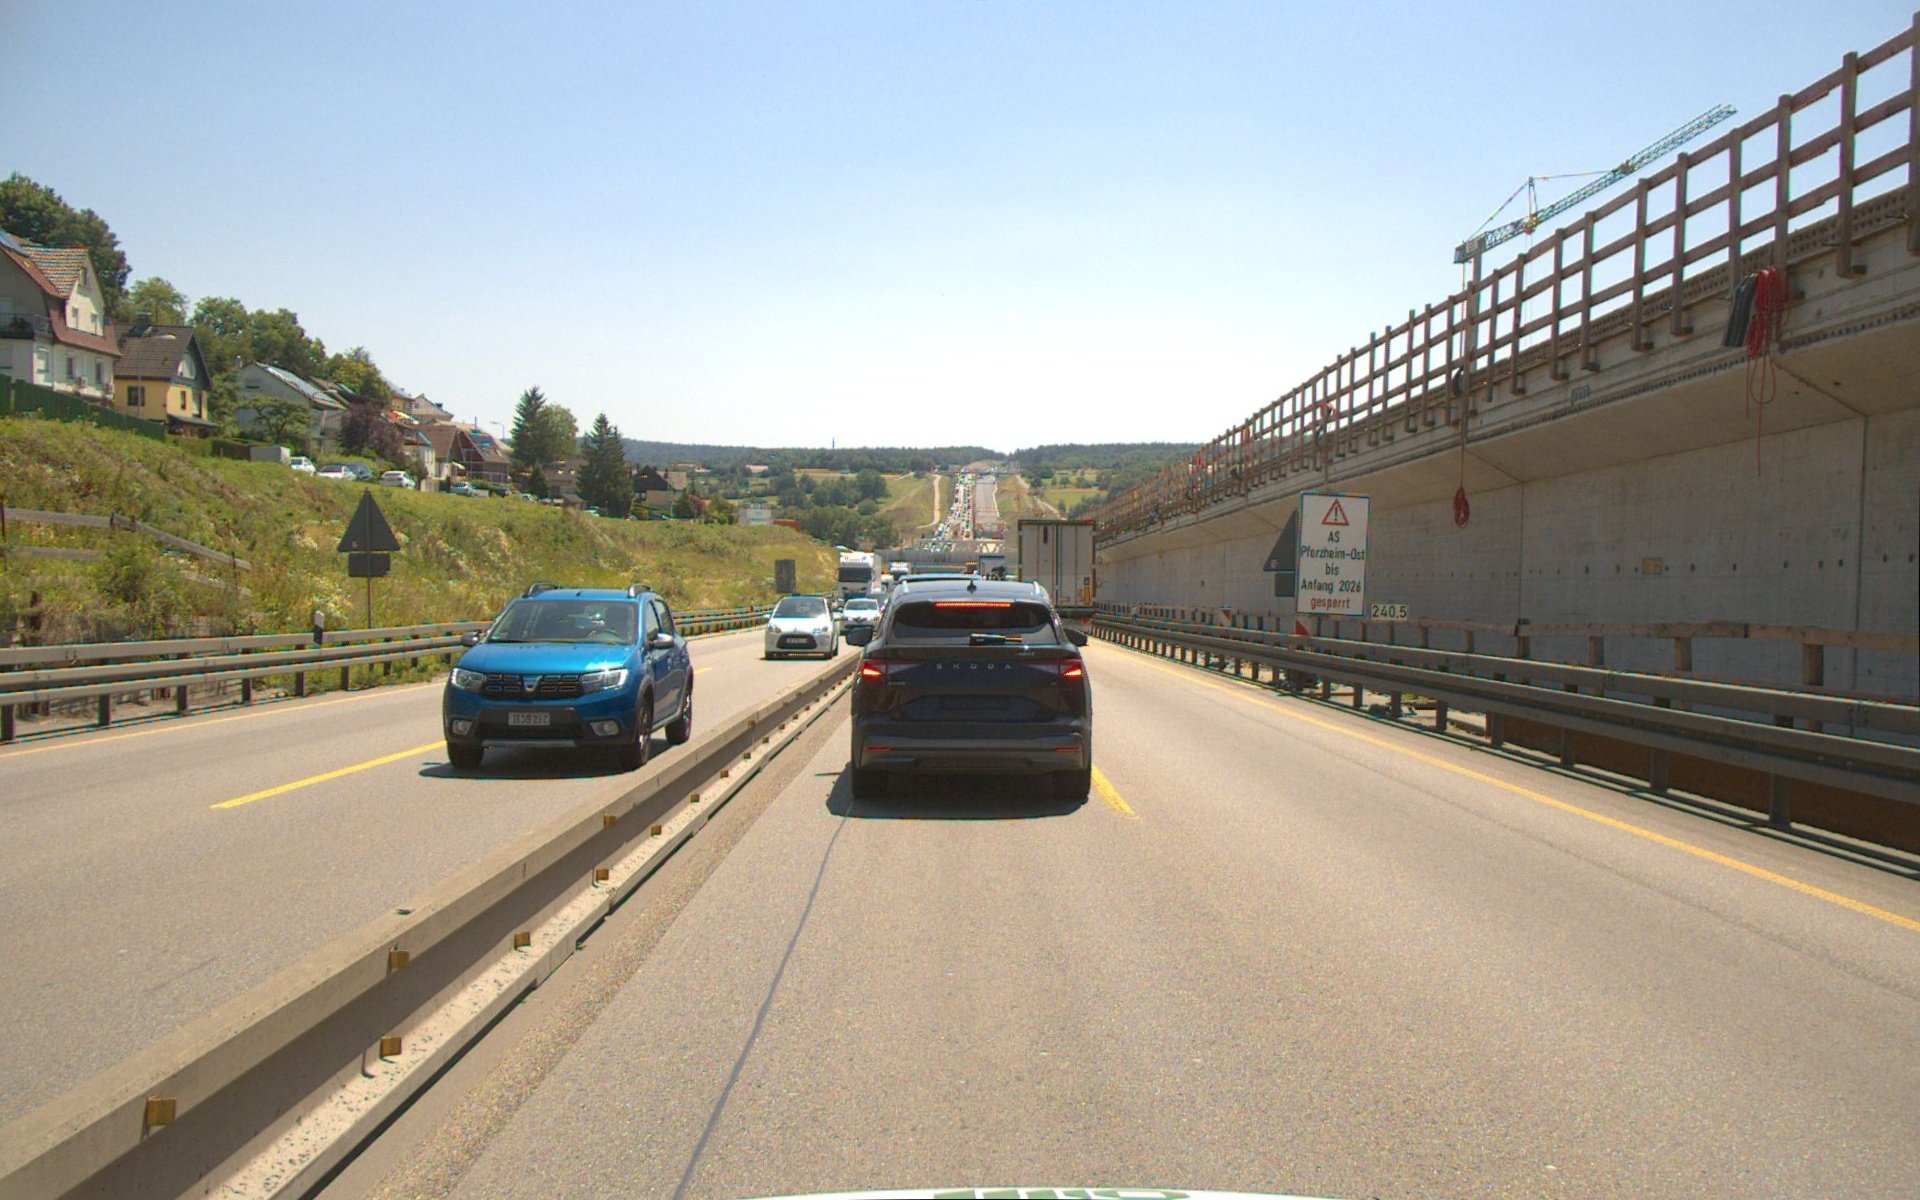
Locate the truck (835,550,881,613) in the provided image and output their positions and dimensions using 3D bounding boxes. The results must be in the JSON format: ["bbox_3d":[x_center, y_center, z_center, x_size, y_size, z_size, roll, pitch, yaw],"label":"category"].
[{"bbox_3d":[-7.331,-1.285,118.384,3.118,4.312,6.477,1,-1,-5],"label":"truck"}]

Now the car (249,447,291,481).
[{"bbox_3d":[-36.622,-7.227,87.897,1.701,1.422,3.782,2,0,-18],"label":"car"}]

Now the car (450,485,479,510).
[{"bbox_3d":[-41.685,-8.607,139.125,1.890,1.758,3.990,0,0,-11],"label":"car"}]

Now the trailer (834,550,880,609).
[{"bbox_3d":[-7.839,-1.475,124.625,3.158,4.231,13.393,0,0,-5],"label":"trailer"}]

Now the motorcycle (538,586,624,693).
[{"bbox_3d":[-6.017,0.588,26.398,0.774,1.578,2.621,1,1,-1],"label":"motorcycle"}]

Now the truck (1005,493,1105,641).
[{"bbox_3d":[3.228,-0.994,59.281,2.788,4.696,11.810,1,-1,0],"label":"truck"}]

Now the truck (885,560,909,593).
[{"bbox_3d":[-8.310,-3.099,219.784,2.697,4.300,8.100,2,1,0],"label":"truck"}]

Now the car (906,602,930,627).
[{"bbox_3d":[-3.215,1.115,127.146,1.739,1.852,4.433,0,0,-1],"label":"car"}]

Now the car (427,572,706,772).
[{"bbox_3d":[-3.541,0.590,15.581,1.728,1.638,3.891,0,0,-1],"label":"car"}]

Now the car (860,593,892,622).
[{"bbox_3d":[-4.661,0.408,92.165,1.665,1.588,4.102,0,0,-1],"label":"car"}]

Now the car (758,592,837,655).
[{"bbox_3d":[-4.036,0.563,41.640,1.730,1.512,3.864,0,0,-2],"label":"car"}]

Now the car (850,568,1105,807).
[{"bbox_3d":[0.074,0.607,13.230,1.747,1.625,3.754,0,0,-2],"label":"car"}]

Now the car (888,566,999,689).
[{"bbox_3d":[-0.347,0.456,29.046,1.714,1.928,3.753,3,0,-3],"label":"car"}]

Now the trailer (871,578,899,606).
[{"bbox_3d":[-7.512,-0.790,166.481,2.434,2.659,5.867,-1,-1,0],"label":"trailer"}]

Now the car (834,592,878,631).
[{"bbox_3d":[-4.193,0.445,67.278,1.657,1.512,3.748,0,0,-2],"label":"car"}]

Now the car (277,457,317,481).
[{"bbox_3d":[-37.137,-7.327,92.728,1.255,1.057,3.270,0,0,-6],"label":"car"}]

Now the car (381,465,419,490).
[{"bbox_3d":[-40.425,-8.855,119.453,1.958,1.342,3.989,4,-1,-11],"label":"car"}]
